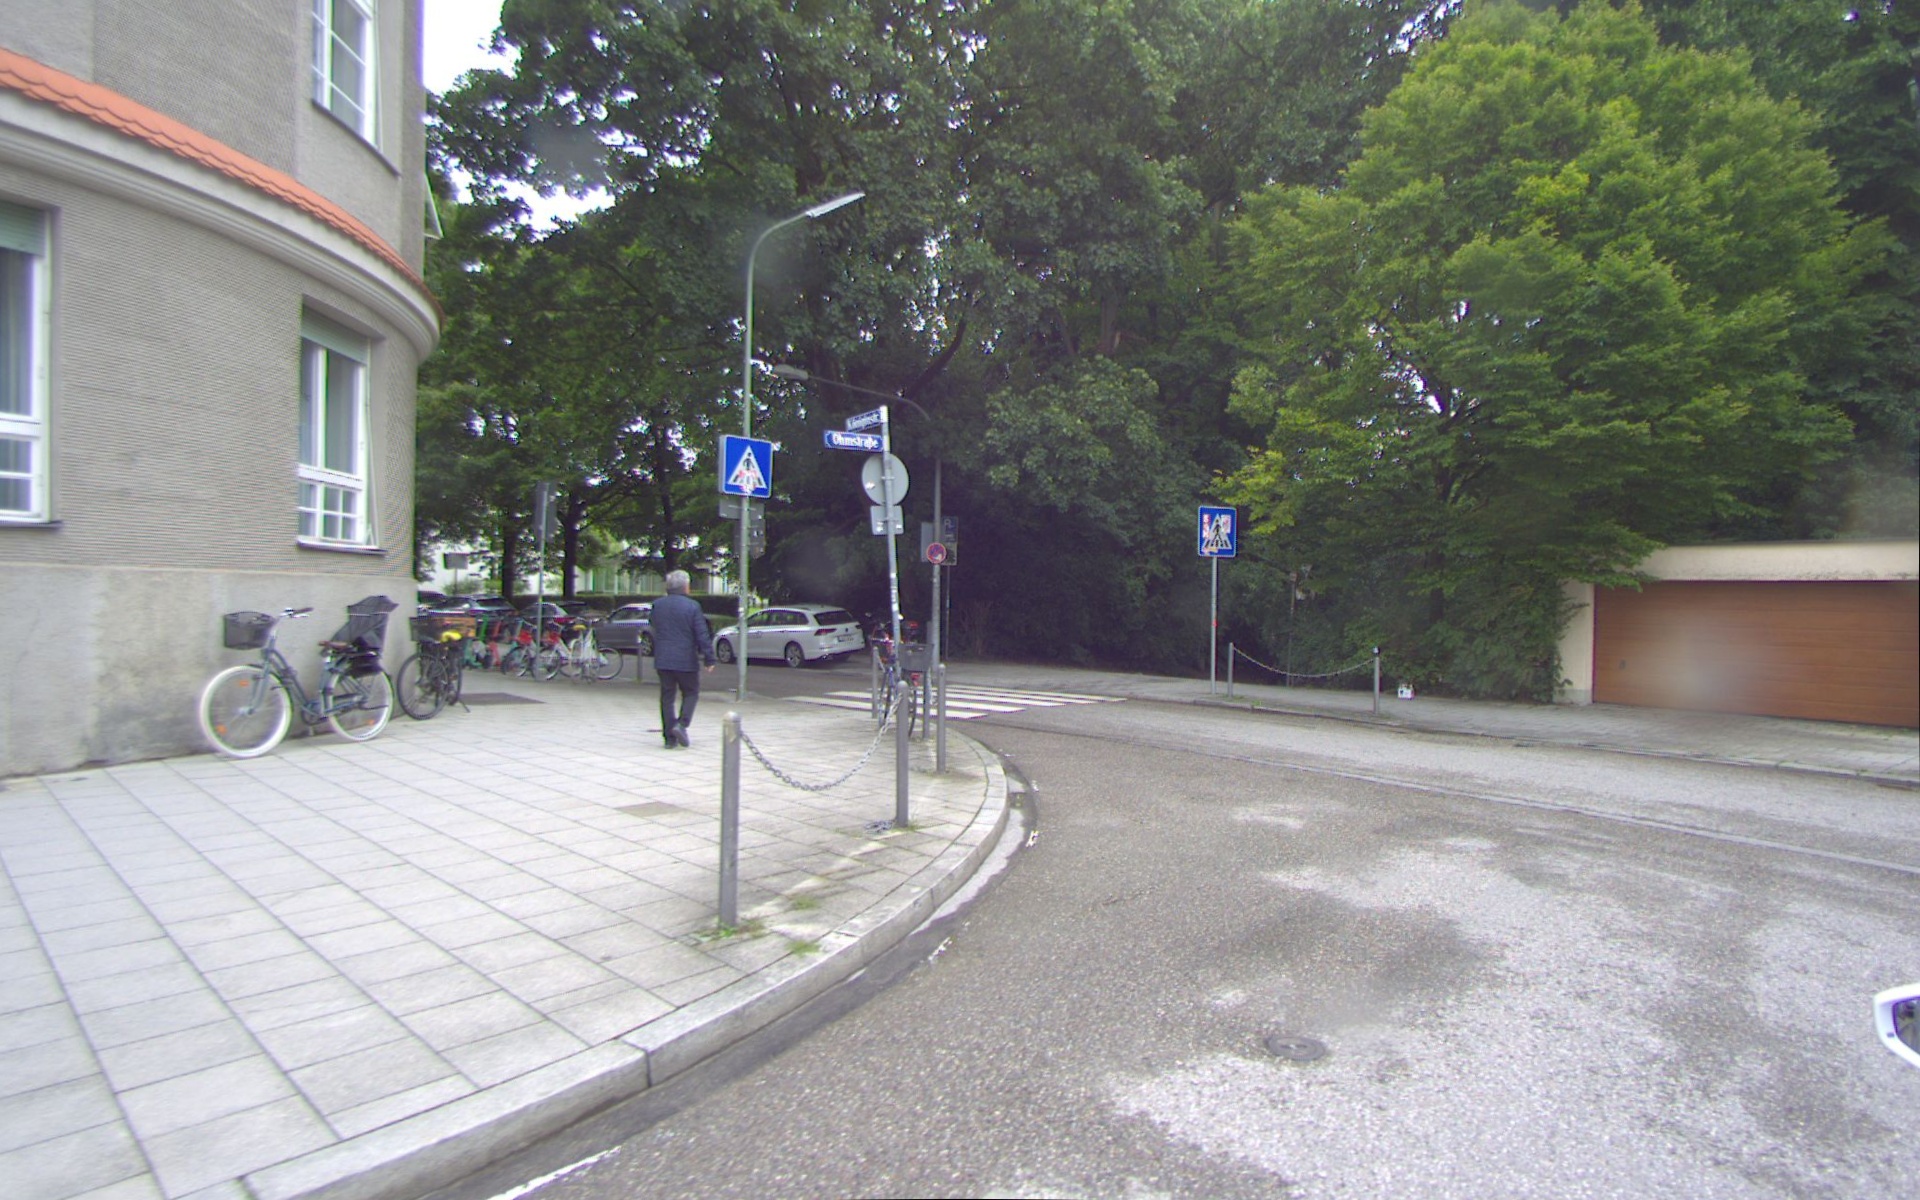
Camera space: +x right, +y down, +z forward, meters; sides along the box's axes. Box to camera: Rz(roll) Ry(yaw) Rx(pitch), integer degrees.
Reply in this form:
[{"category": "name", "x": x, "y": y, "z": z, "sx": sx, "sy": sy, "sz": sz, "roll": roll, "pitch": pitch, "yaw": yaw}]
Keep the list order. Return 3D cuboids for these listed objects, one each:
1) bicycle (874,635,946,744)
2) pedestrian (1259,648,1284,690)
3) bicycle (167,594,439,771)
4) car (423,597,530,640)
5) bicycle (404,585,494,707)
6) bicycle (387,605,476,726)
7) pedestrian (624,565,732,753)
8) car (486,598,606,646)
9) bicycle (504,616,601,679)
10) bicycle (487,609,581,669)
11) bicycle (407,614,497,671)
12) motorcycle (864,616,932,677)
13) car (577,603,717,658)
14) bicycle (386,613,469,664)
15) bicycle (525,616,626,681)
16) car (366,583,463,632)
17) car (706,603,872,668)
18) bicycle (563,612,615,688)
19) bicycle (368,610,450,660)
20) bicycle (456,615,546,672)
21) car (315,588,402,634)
[{"category": "bicycle", "x": -0.597, "y": 0.952, "z": 11.248, "sx": 0.503, "sy": 1.023, "sz": 2.004, "roll": 2, "pitch": 0, "yaw": -11}, {"category": "pedestrian", "x": 8.942, "y": 1.982, "z": 28.860, "sx": 0.493, "sy": 1.171, "sz": 0.466, "roll": 1, "pitch": 0, "yaw": -42}, {"category": "bicycle", "x": -5.355, "y": 0.608, "z": 8.366, "sx": 0.723, "sy": 1.273, "sz": 1.927, "roll": 2, "pitch": 0, "yaw": 11}, {"category": "car", "x": -17.719, "y": 0.636, "z": 36.703, "sx": 4.446, "sy": 1.451, "sz": 1.770, "roll": 1, "pitch": 0, "yaw": 39}, {"category": "bicycle", "x": -6.588, "y": 0.544, "z": 12.903, "sx": 0.731, "sy": 1.432, "sz": 1.907, "roll": 1, "pitch": 0, "yaw": -35}, {"category": "bicycle", "x": -5.786, "y": 0.670, "z": 11.085, "sx": 0.557, "sy": 1.172, "sz": 1.917, "roll": 5, "pitch": -1, "yaw": -21}, {"category": "pedestrian", "x": -2.597, "y": 0.529, "z": 9.338, "sx": 0.798, "sy": 1.663, "sz": 0.726, "roll": 2, "pitch": 0, "yaw": -5}, {"category": "car", "x": -13.879, "y": 0.708, "z": 33.596, "sx": 4.446, "sy": 1.451, "sz": 1.770, "roll": 1, "pitch": 0, "yaw": 39}, {"category": "bicycle", "x": -7.853, "y": 0.918, "z": 19.398, "sx": 1.666, "sy": 1.162, "sz": 0.462, "roll": 2, "pitch": 0, "yaw": -33}, {"category": "bicycle", "x": -8.627, "y": 0.787, "z": 20.365, "sx": 1.666, "sy": 1.162, "sz": 0.507, "roll": 2, "pitch": 0, "yaw": -33}, {"category": "bicycle", "x": -10.942, "y": 0.915, "z": 21.640, "sx": 1.666, "sy": 1.162, "sz": 0.507, "roll": 2, "pitch": 0, "yaw": -33}, {"category": "motorcycle", "x": -1.381, "y": 0.993, "z": 22.104, "sx": 0.847, "sy": 1.200, "sz": 1.994, "roll": -2, "pitch": 2, "yaw": -23}, {"category": "car", "x": -9.305, "y": 0.852, "z": 29.679, "sx": 4.446, "sy": 1.451, "sz": 1.770, "roll": 1, "pitch": 0, "yaw": 39}, {"category": "bicycle", "x": -12.536, "y": 0.904, "z": 23.652, "sx": 1.666, "sy": 1.162, "sz": 0.507, "roll": 2, "pitch": 0, "yaw": -33}, {"category": "bicycle", "x": -7.226, "y": 0.902, "z": 18.931, "sx": 1.690, "sy": 1.162, "sz": 0.507, "roll": 2, "pitch": 0, "yaw": -33}, {"category": "car", "x": -21.748, "y": 0.266, "z": 39.982, "sx": 4.446, "sy": 1.842, "sz": 1.770, "roll": 1, "pitch": -1, "yaw": 39}, {"category": "car", "x": -4.385, "y": 0.848, "z": 25.431, "sx": 4.365, "sy": 1.468, "sz": 1.618, "roll": 1, "pitch": 0, "yaw": 38}, {"category": "bicycle", "x": -6.138, "y": 0.806, "z": 16.675, "sx": 0.503, "sy": 1.162, "sz": 1.681, "roll": 2, "pitch": 0, "yaw": -11}, {"category": "bicycle", "x": -13.236, "y": 0.836, "z": 24.138, "sx": 1.666, "sy": 1.162, "sz": 0.507, "roll": 2, "pitch": 0, "yaw": -33}, {"category": "bicycle", "x": -9.749, "y": 0.924, "z": 21.349, "sx": 1.666, "sy": 1.162, "sz": 0.507, "roll": 2, "pitch": 0, "yaw": -33}, {"category": "car", "x": -26.125, "y": 0.450, "z": 43.576, "sx": 4.446, "sy": 1.860, "sz": 1.770, "roll": 1, "pitch": 0, "yaw": 39}]
